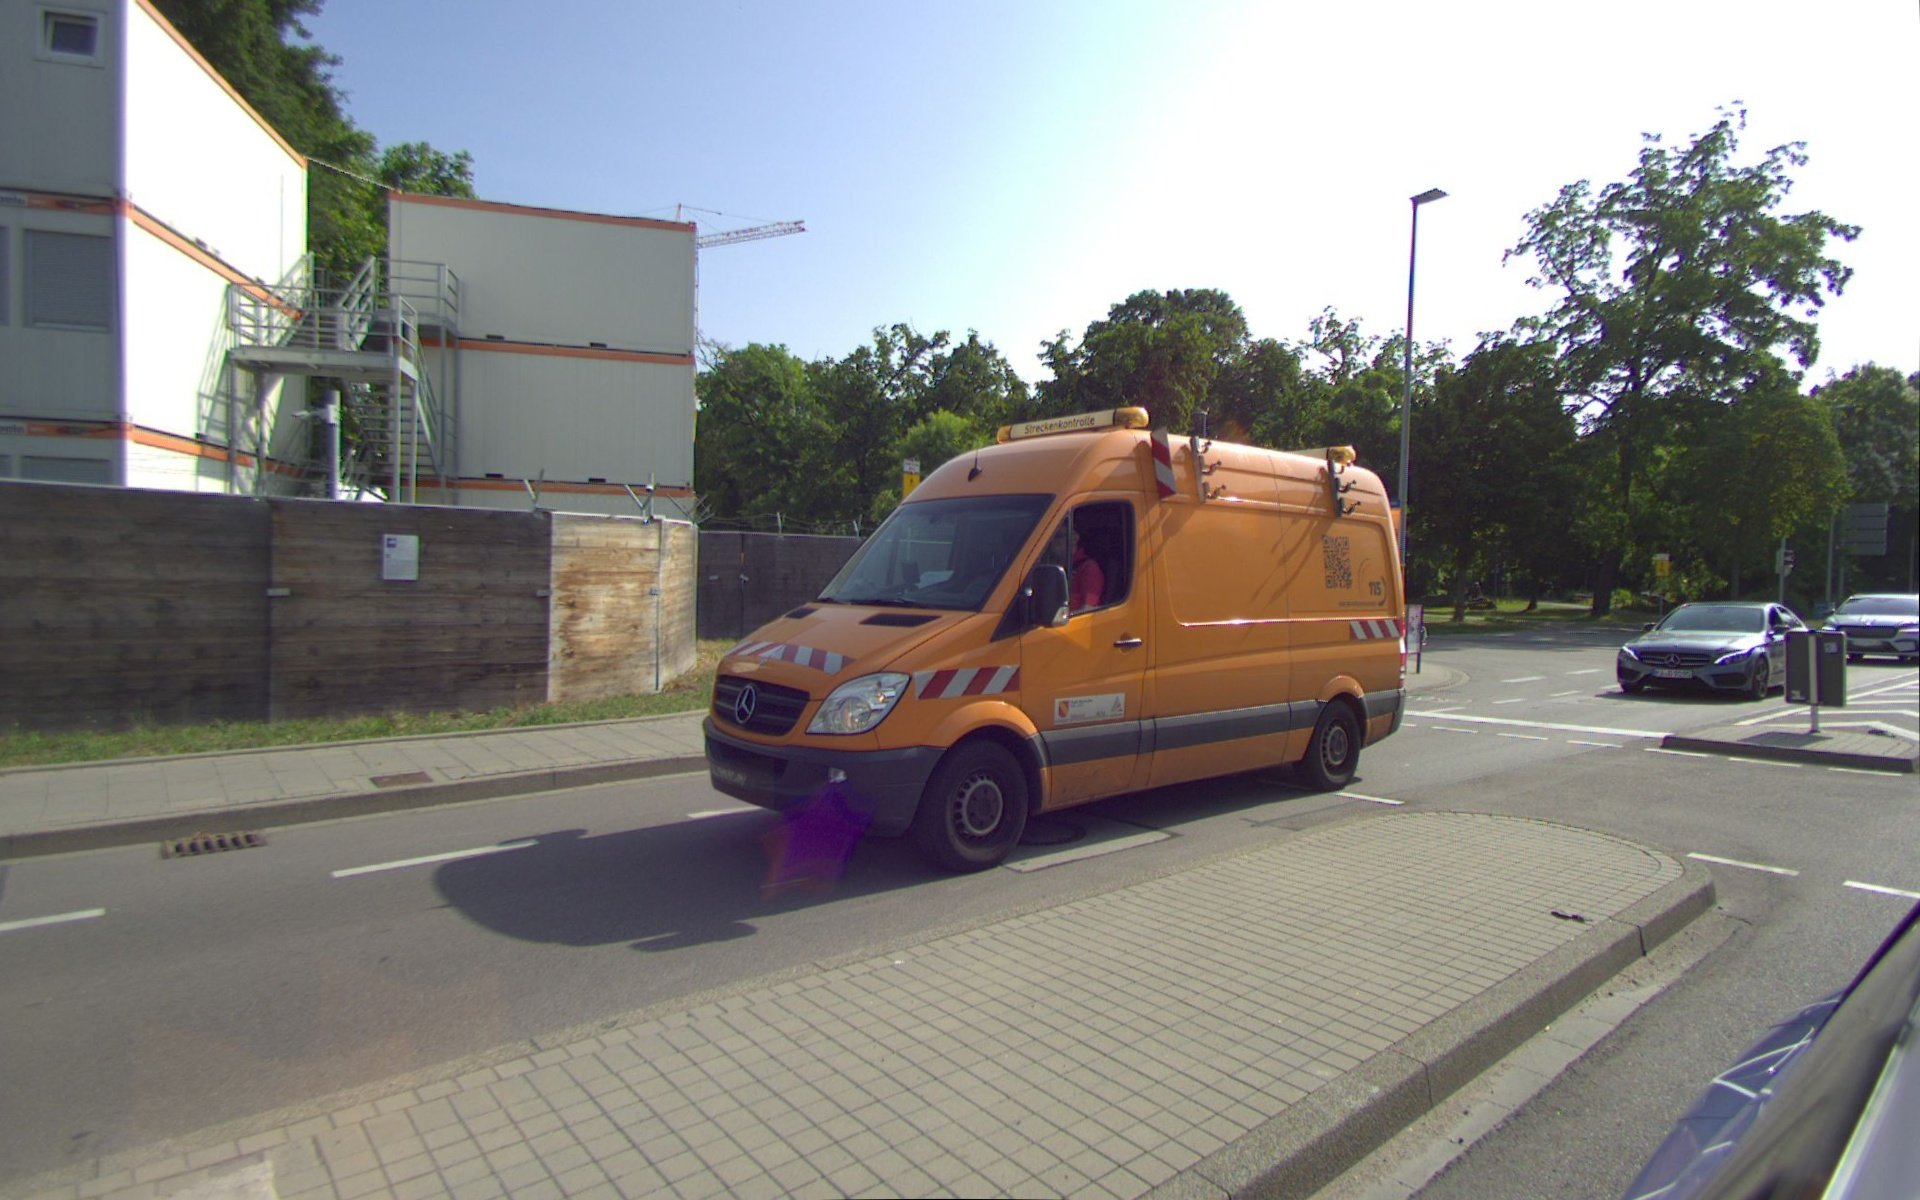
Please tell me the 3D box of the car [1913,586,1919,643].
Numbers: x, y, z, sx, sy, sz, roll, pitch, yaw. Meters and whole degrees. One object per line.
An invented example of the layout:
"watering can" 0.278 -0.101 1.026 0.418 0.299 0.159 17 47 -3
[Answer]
"car" 30.098 0.434 30.202 3.930 1.660 1.997 0 2 -41

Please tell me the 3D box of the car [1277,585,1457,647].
"car" 10.679 0.363 26.890 1.958 1.423 4.292 0 2 -23

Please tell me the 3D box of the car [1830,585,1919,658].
"car" 22.096 0.447 23.774 4.175 1.590 1.896 0 1 -40

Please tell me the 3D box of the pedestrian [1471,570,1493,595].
"pedestrian" 39.470 -1.348 76.467 1.048 1.853 0.987 1 1 -10

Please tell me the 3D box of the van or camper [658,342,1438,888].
"van or camper" 1.072 0.058 7.314 5.953 2.503 1.990 0 0 -40
